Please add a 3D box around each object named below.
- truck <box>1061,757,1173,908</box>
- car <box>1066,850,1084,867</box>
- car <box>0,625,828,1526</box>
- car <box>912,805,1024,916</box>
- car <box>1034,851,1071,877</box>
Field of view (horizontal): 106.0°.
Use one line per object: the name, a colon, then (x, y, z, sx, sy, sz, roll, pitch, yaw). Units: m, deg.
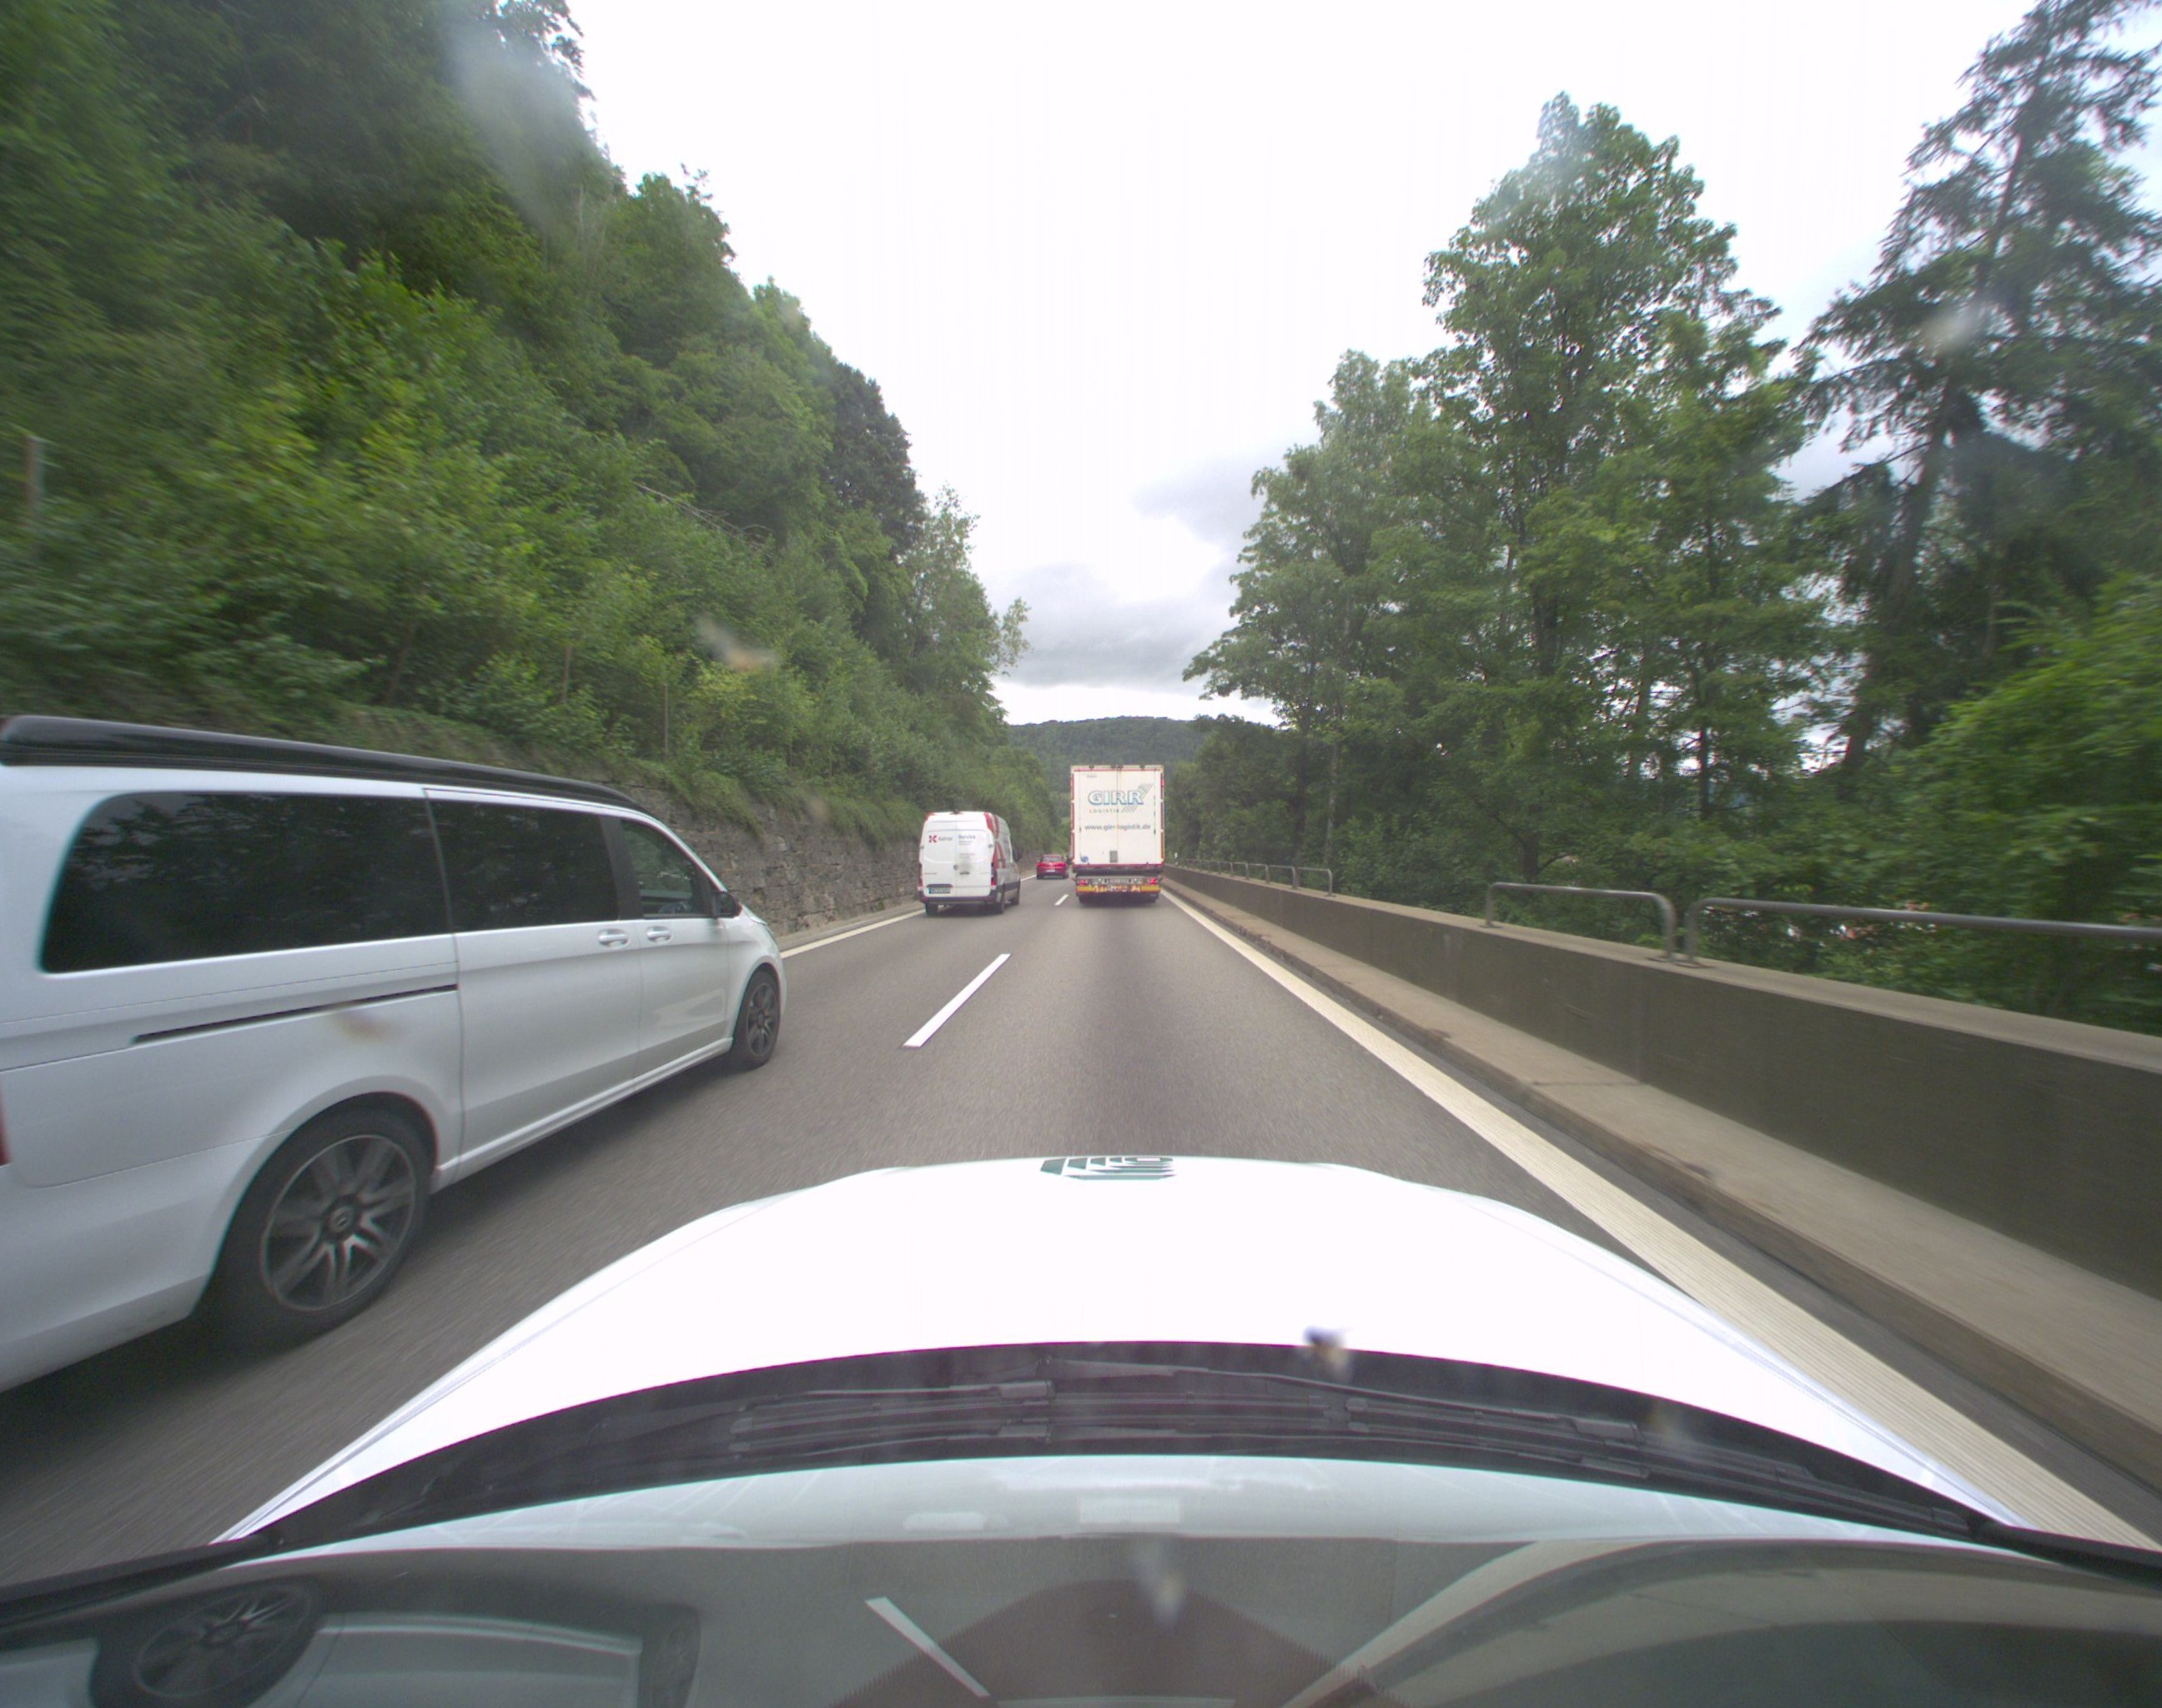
truck: (1.201, -0.573, 26.442, 2.897, 3.960, 9.285, -1, 0, 3)
car: (-0.622, 0.484, 84.207, 1.662, 1.639, 4.070, -2, 0, 2)
car: (-3.264, 0.475, 3.922, 1.986, 1.953, 6.150, 0, 0, 2)
car: (-2.894, 0.175, 22.409, 2.019, 2.585, 6.275, -2, 0, 1)
car: (-1.657, 0.570, 48.919, 1.759, 1.460, 4.414, -2, 0, 3)
